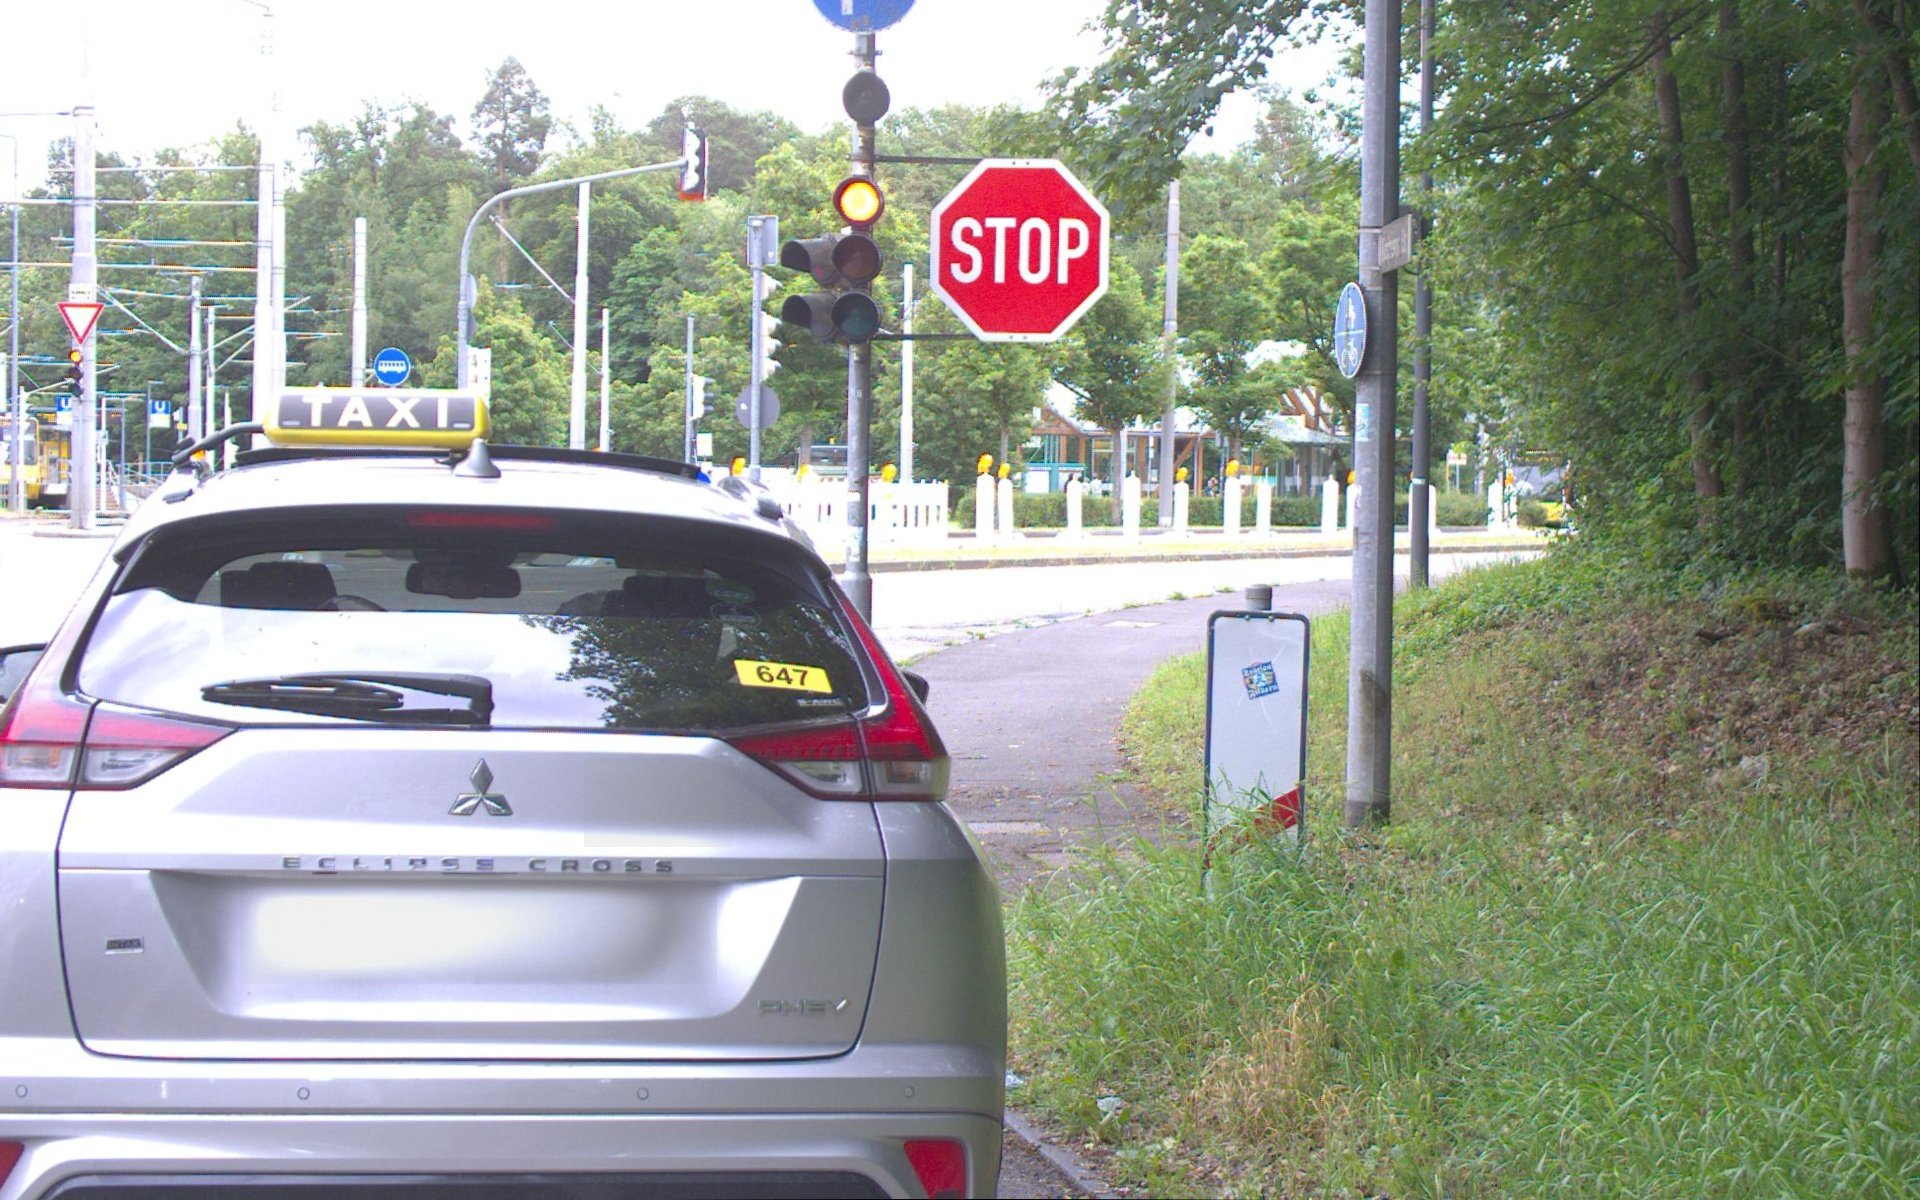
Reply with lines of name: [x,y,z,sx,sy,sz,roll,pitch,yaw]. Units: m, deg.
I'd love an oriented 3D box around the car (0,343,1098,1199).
car: [-0.998,0.467,6.824,1.773,1.742,3.782,2,2,-9]

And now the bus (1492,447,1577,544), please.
bus: [22.637,-4.196,136.017,2.822,3.590,12.801,1,2,8]
